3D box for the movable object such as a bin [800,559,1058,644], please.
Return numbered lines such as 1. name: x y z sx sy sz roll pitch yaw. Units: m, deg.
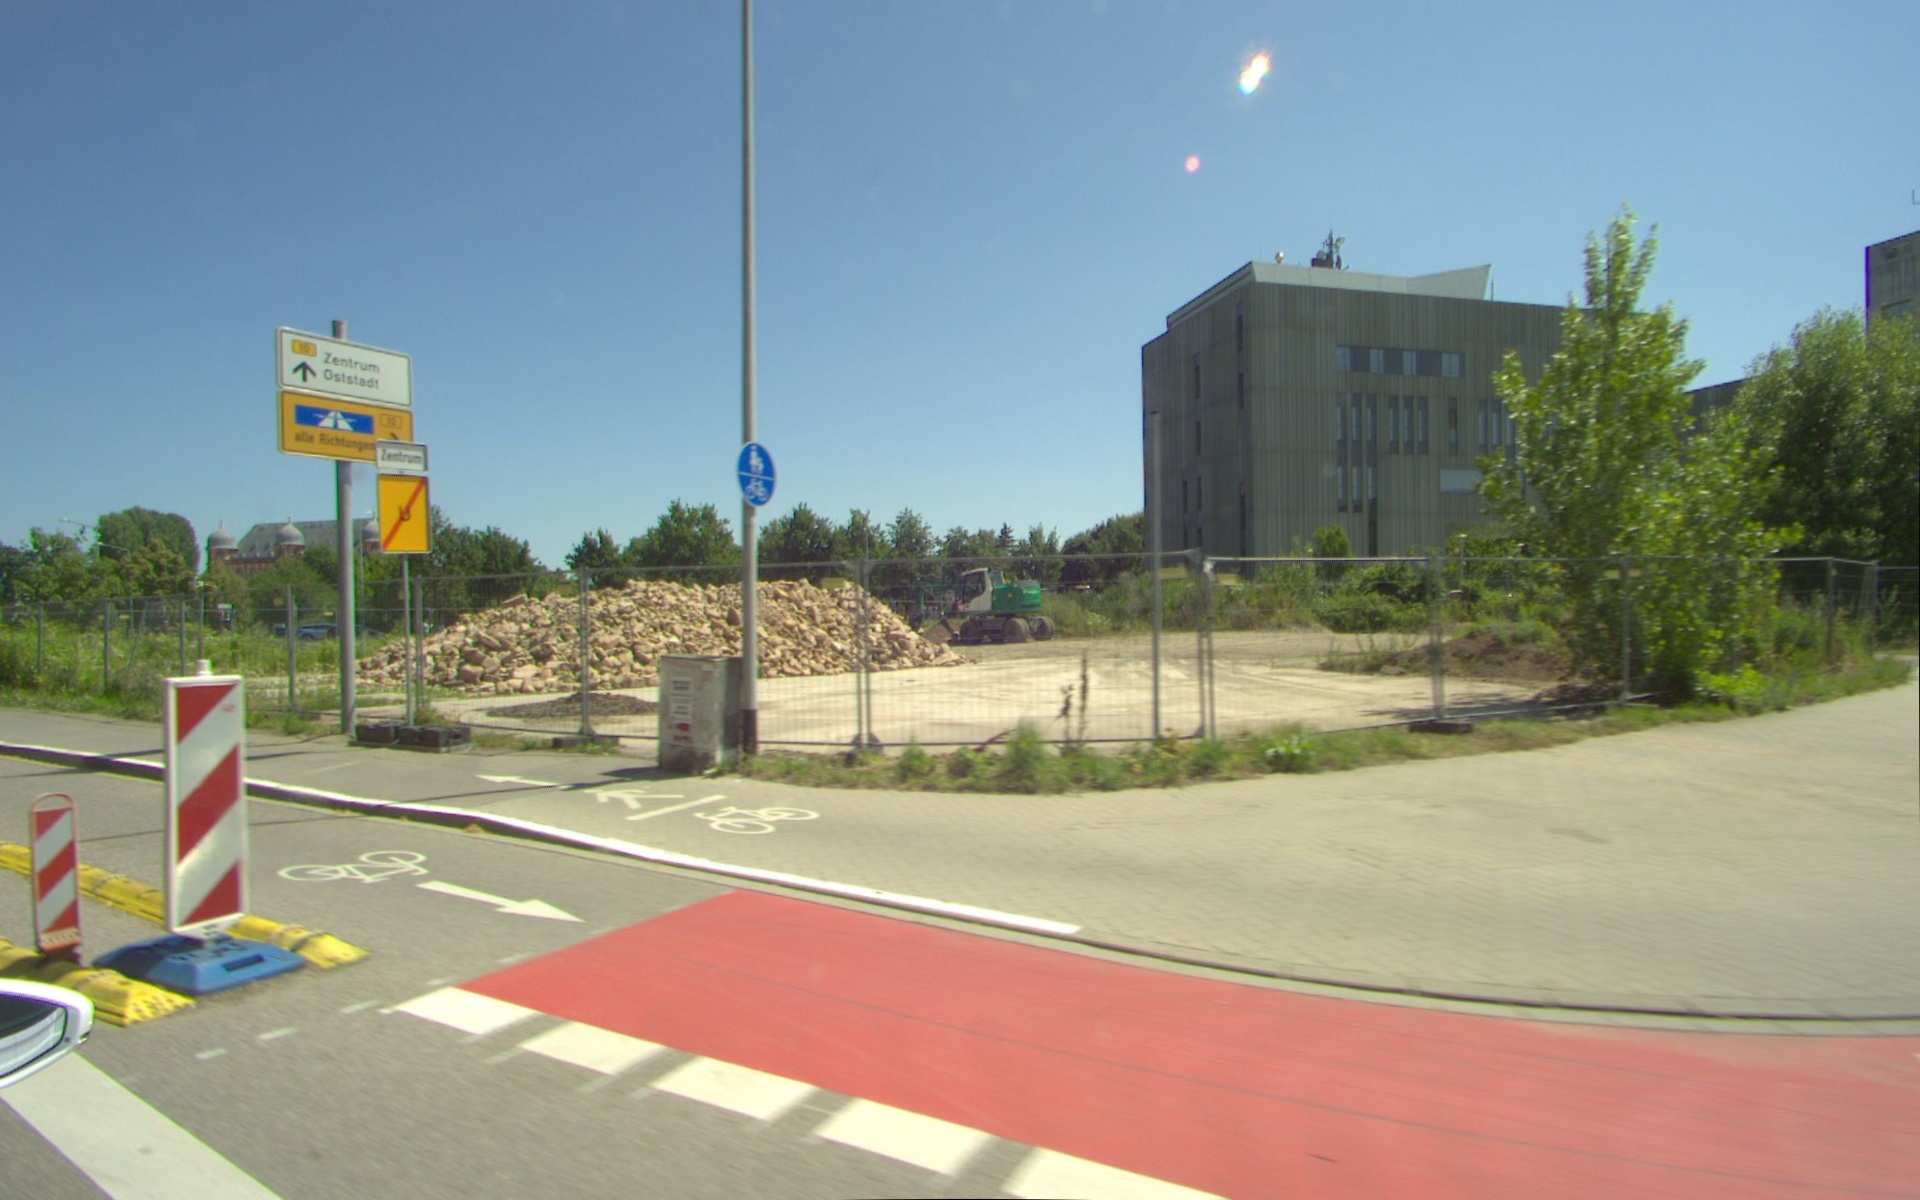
1. movable object such as a bin: -1.450 0.136 43.941 10.317 3.303 4.930 -1 0 31
